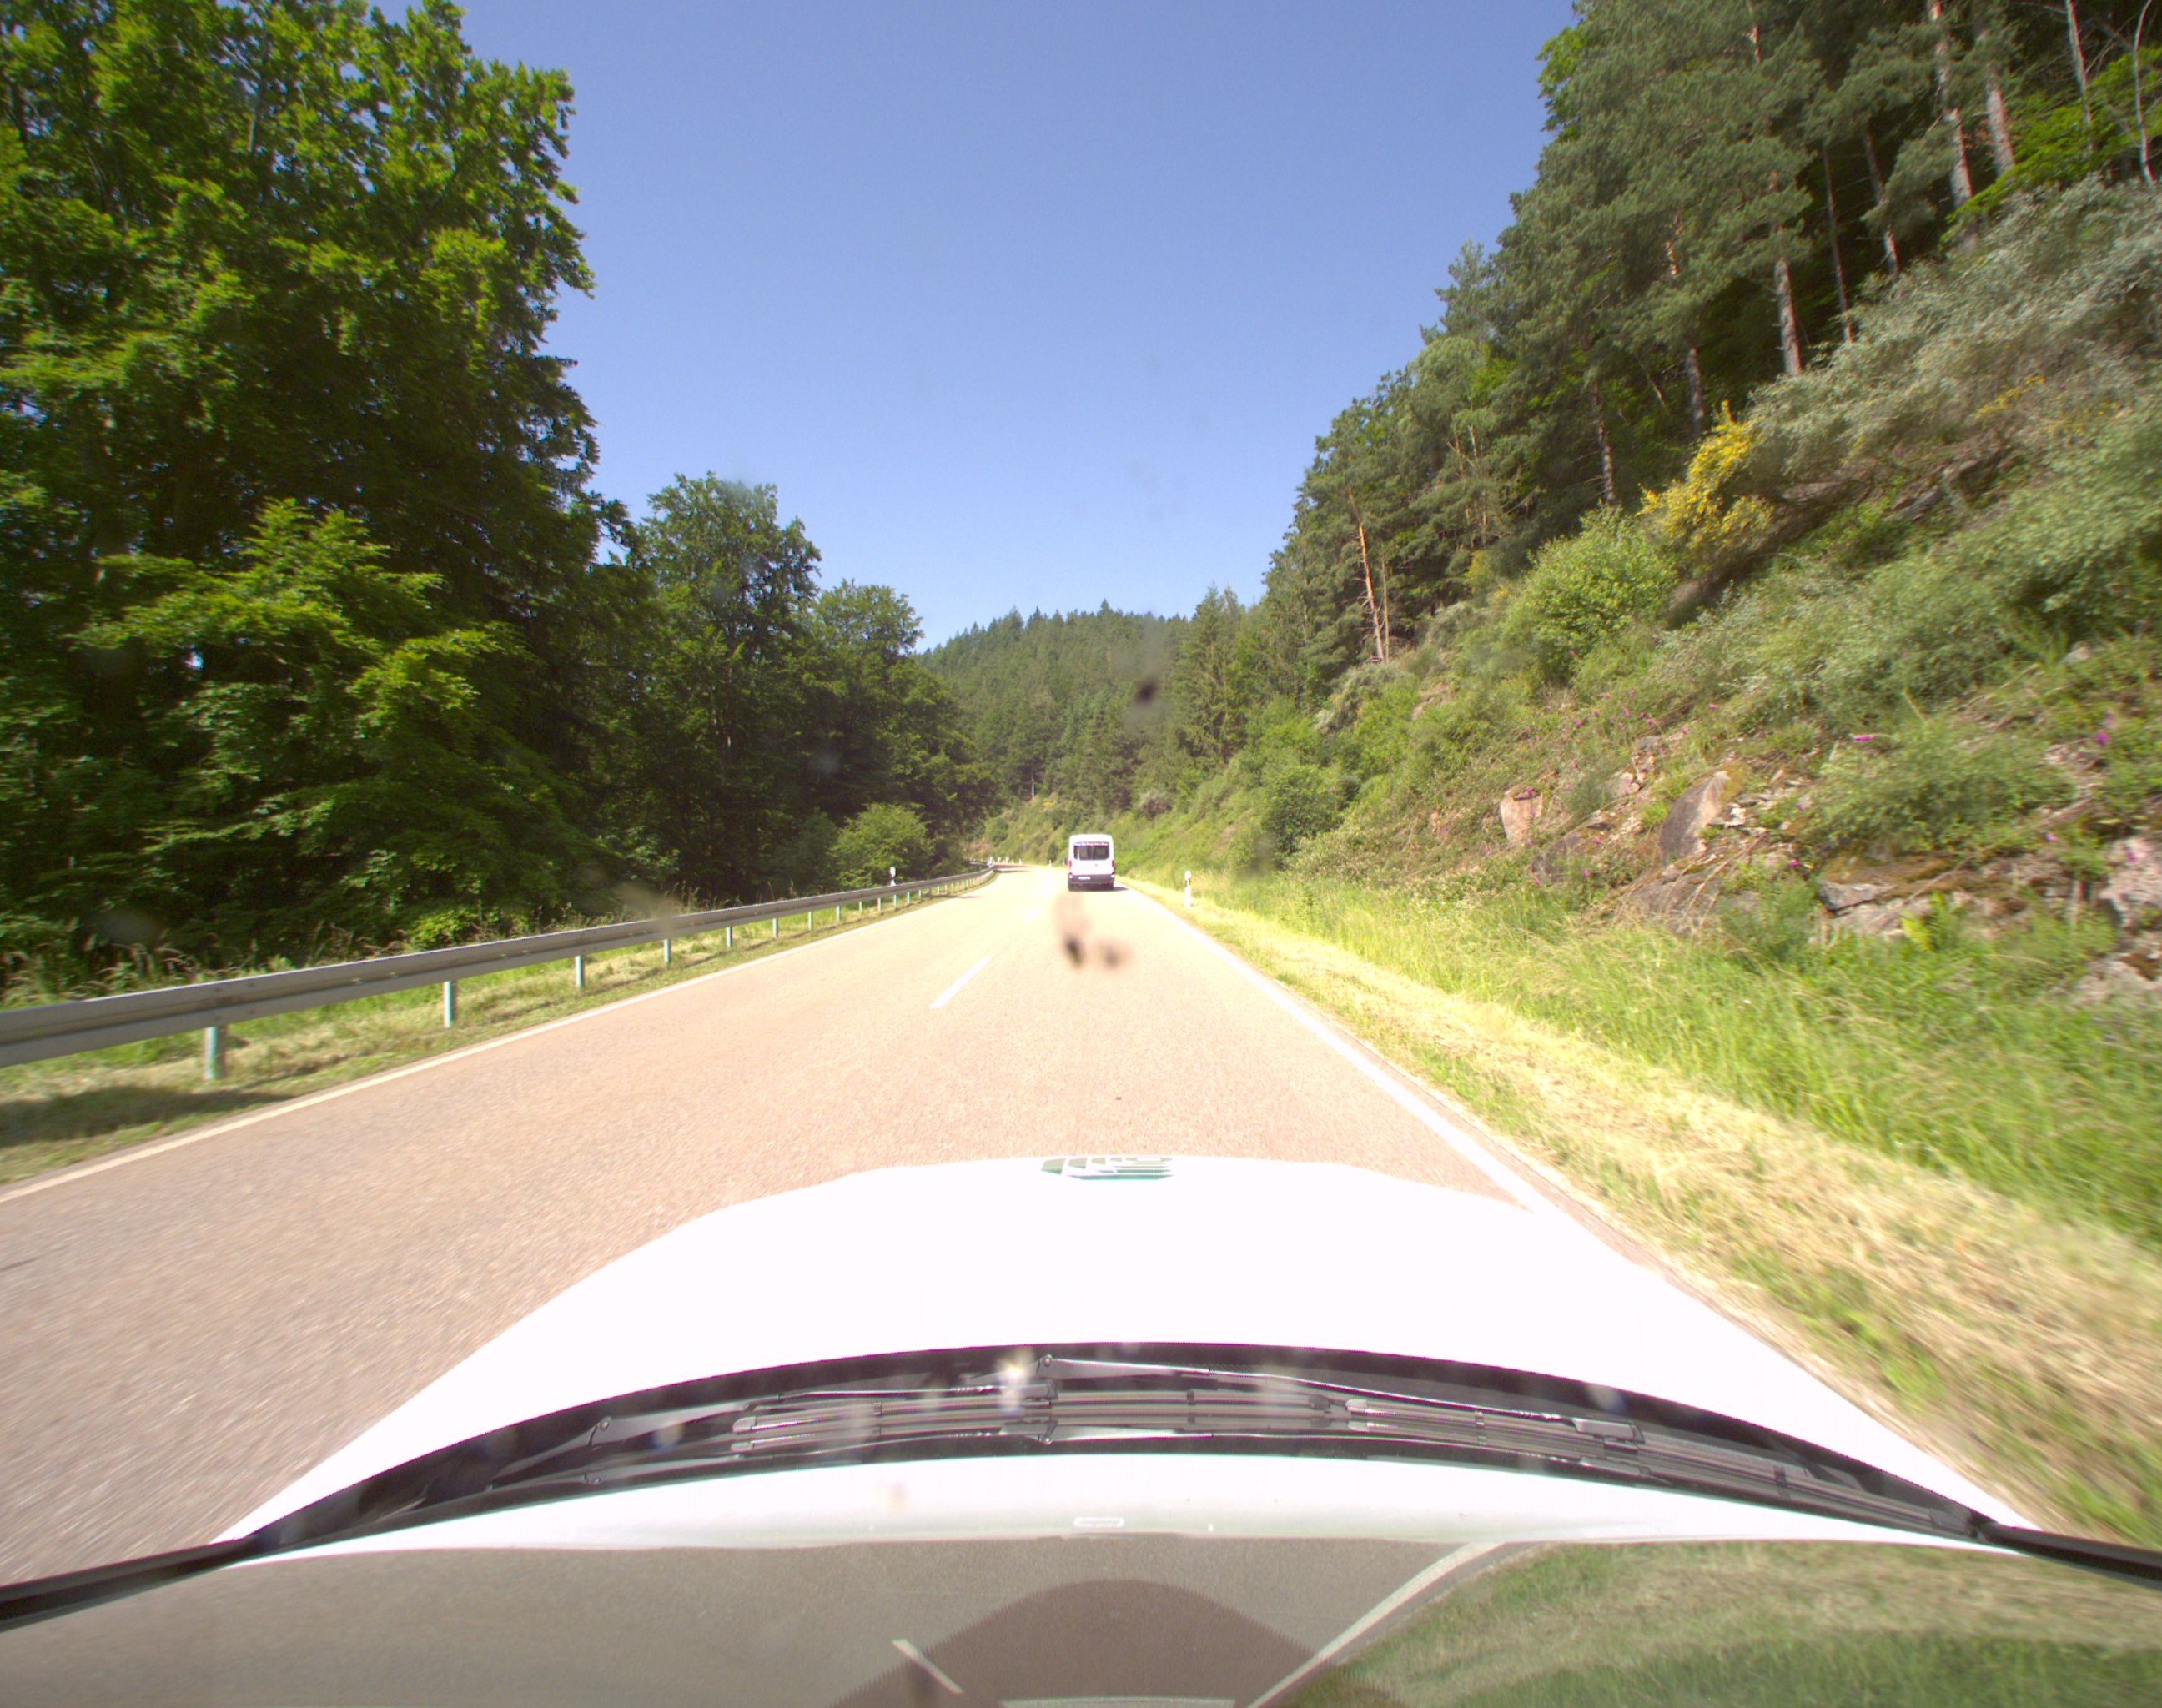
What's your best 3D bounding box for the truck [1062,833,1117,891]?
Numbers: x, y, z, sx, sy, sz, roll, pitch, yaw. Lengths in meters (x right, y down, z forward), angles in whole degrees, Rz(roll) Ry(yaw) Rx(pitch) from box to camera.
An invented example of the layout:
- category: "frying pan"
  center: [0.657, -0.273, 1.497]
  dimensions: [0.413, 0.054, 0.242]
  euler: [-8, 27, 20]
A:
- category: "truck"
  center: [0.330, 0.333, 37.193]
  dimensions: [2.080, 2.459, 4.867]
  euler: [-1, 0, -4]
